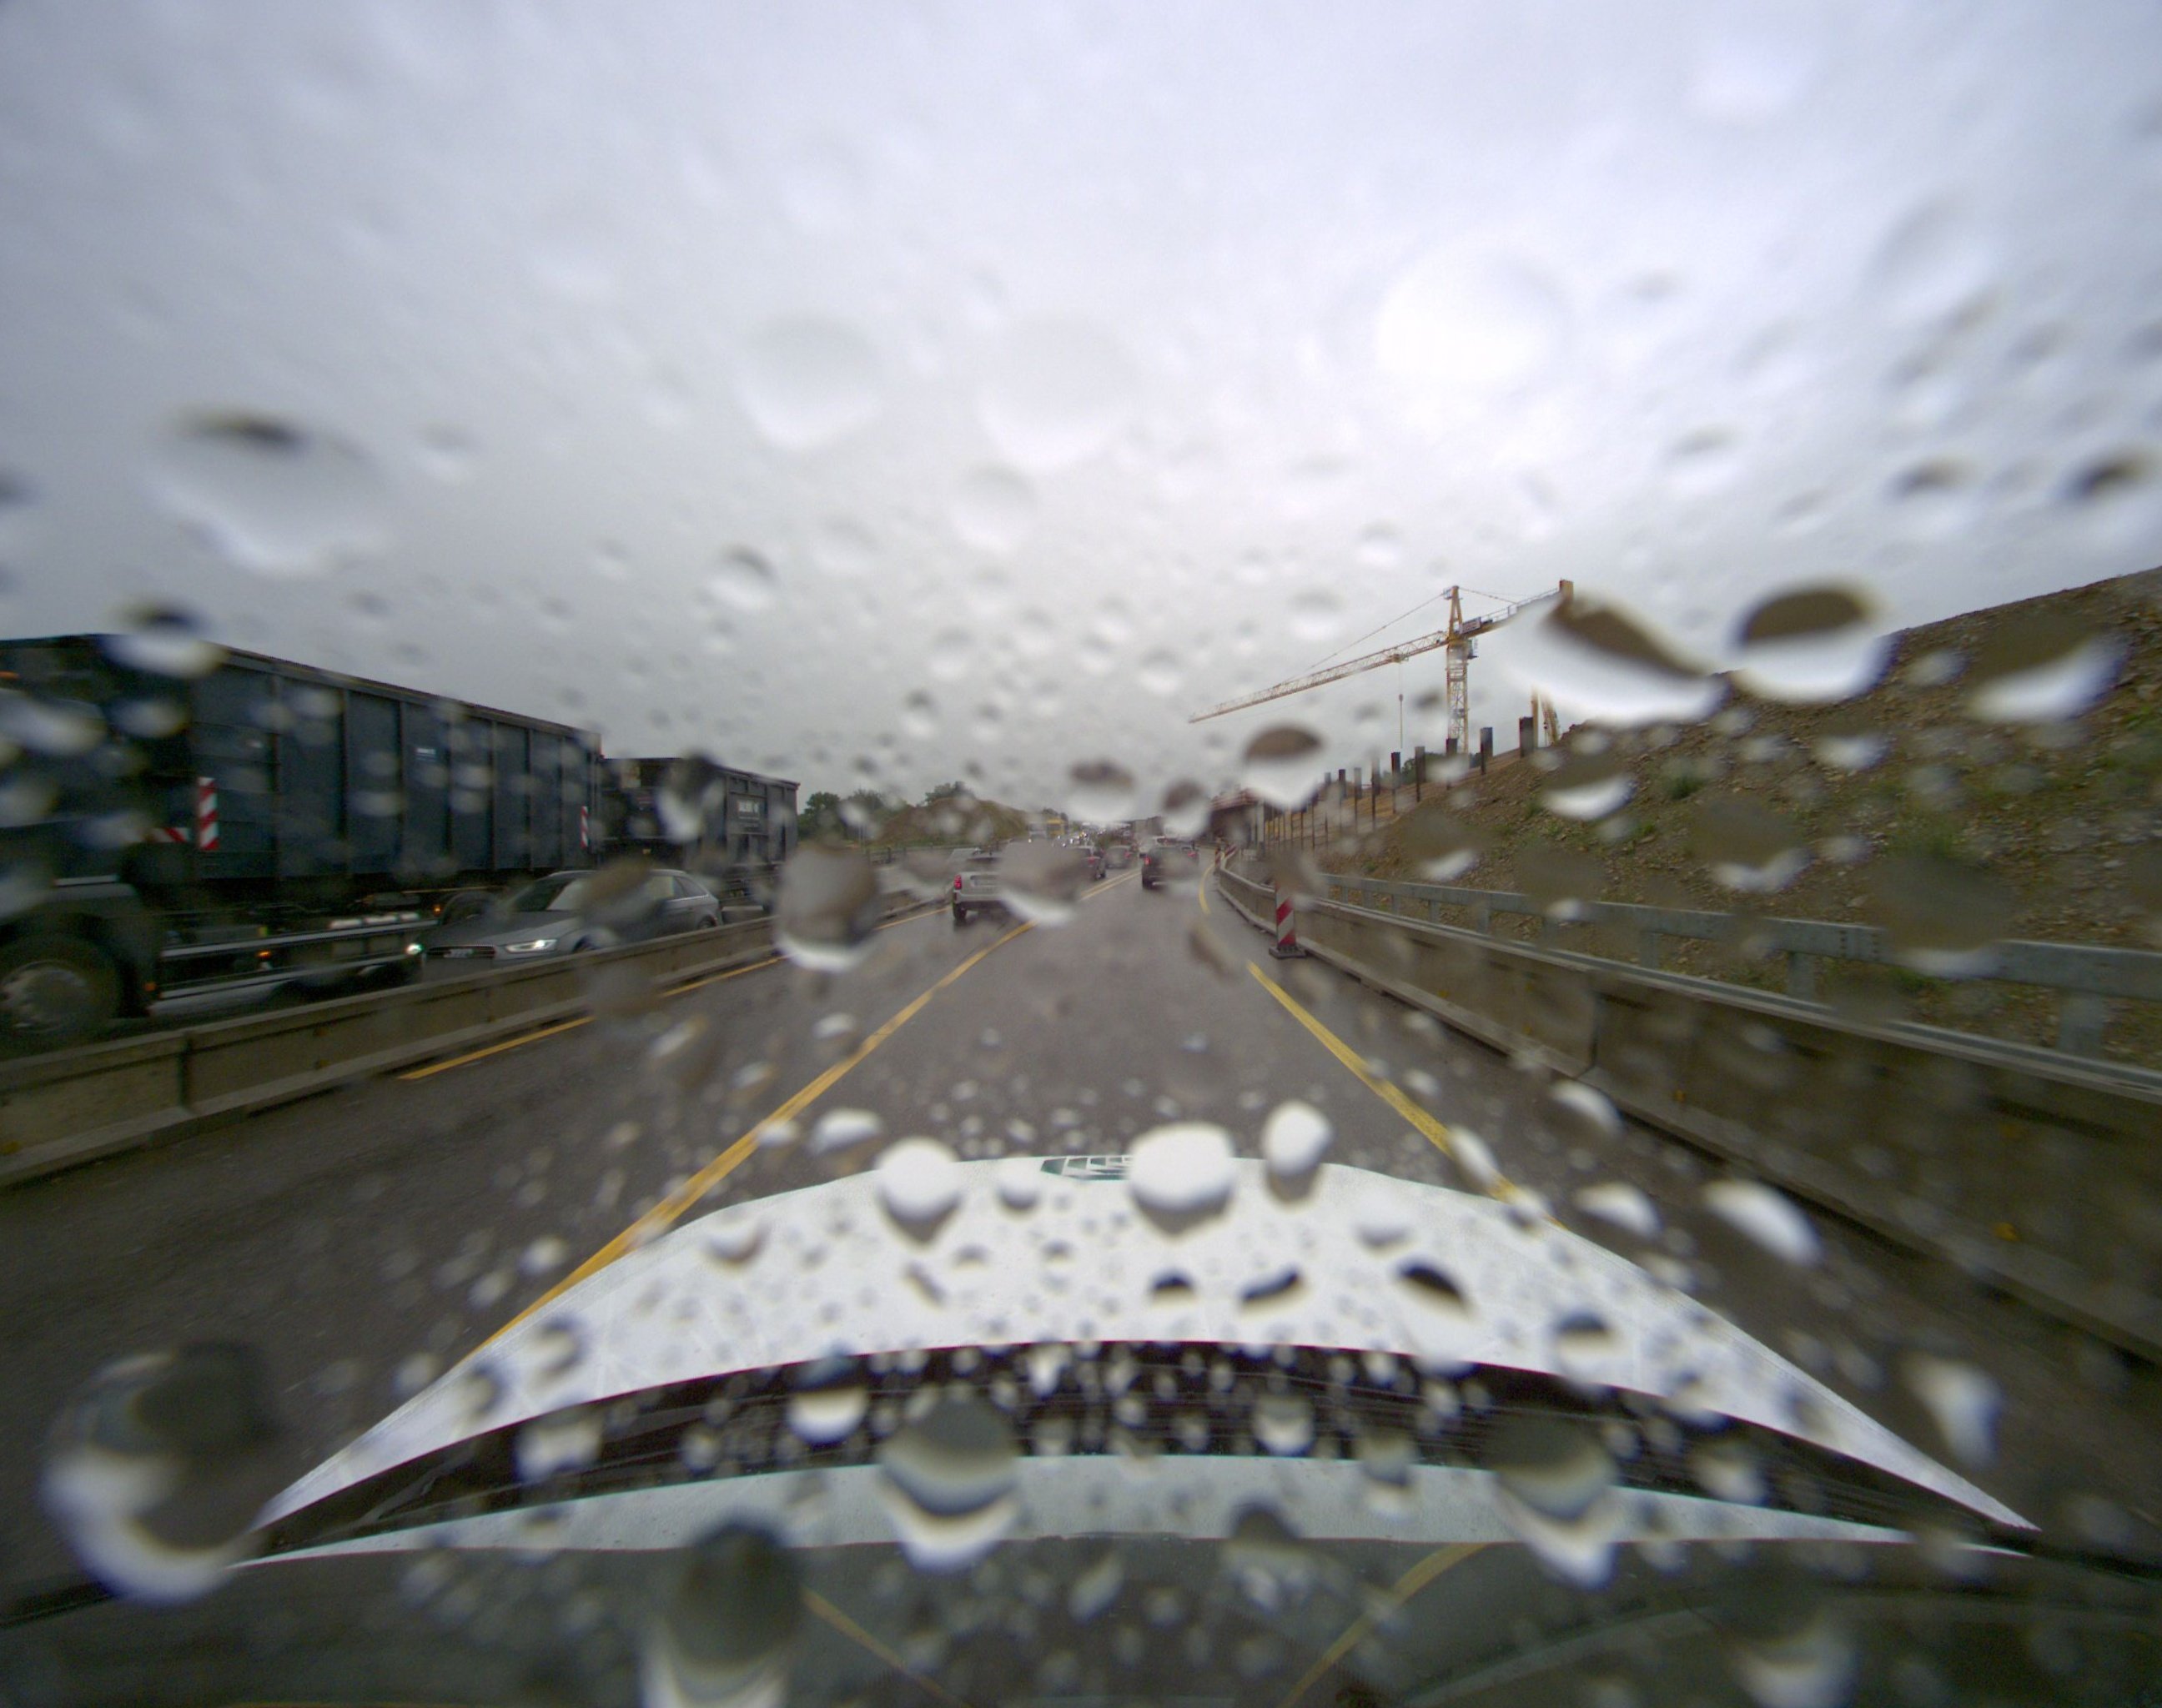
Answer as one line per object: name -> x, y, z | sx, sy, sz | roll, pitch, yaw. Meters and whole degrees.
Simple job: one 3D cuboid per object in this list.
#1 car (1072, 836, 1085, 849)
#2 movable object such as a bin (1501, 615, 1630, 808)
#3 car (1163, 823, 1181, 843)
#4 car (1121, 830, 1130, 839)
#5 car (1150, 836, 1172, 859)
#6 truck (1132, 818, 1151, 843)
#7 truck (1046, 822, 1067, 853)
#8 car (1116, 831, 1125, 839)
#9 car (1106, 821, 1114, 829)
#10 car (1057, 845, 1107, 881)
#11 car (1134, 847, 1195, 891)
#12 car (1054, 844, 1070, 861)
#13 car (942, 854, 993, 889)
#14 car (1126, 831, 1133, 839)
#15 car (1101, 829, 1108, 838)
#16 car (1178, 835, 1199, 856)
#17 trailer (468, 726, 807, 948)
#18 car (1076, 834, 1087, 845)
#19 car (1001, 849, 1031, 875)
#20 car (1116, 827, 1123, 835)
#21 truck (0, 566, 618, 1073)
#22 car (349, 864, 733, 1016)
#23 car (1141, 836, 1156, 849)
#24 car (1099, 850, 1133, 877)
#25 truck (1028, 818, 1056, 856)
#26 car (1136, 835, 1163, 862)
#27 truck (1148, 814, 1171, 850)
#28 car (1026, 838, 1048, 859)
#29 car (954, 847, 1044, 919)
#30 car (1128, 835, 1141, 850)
car -> -0.469, -2.249, 157.721 | 2.229, 2.359, 4.879 | -1, 0, 2
movable object such as a bin -> 32.646, -9.124, 55.684 | 4.683, 10.844, 10.344 | -2, -2, 16
car -> 12.826, -2.925, 114.931 | 1.986, 2.484, 4.983 | -1, -2, 2
car -> 10.196, -4.471, 187.287 | 1.842, 1.894, 4.023 | -1, -2, 2
car -> 8.166, -0.630, 82.562 | 1.982, 2.163, 4.149 | -1, -2, 8
truck -> 14.452, -5.544, 196.525 | 3.791, 5.043, 12.920 | -1, -2, 1
truck -> -4.465, -2.959, 147.841 | 3.129, 5.418, 8.527 | -1, 0, 2
car -> 10.051, -4.800, 206.612 | 1.986, 2.014, 4.001 | -2, -1, 1
car -> 8.440, -8.366, 237.794 | 1.986, 2.014, 4.000 | -1, -2, 1
car -> 0.093, 0.472, 39.315 | 1.984, 1.601, 4.146 | -1, -2, 6
car -> 3.197, 0.630, 31.906 | 2.073, 1.601, 4.142 | -1, -2, 2
car -> -2.289, -0.135, 97.367 | 1.616, 1.810, 3.638 | -1, -2, 2
car -> -5.802, 0.847, 42.341 | 1.731, 1.684, 5.554 | 0, 0, 2
car -> 14.229, -5.611, 239.193 | 1.987, 2.014, 3.999 | -1, -2, 1
car -> 6.447, -5.638, 223.614 | 1.986, 2.014, 4.000 | -1, -2, 1
car -> 11.957, -0.909, 90.662 | 1.985, 2.163, 4.143 | -1, -2, 3
trailer -> -9.674, -0.331, 19.596 | 2.737, 3.970, 9.674 | -1, 0, 0
car -> 0.080, -3.054, 173.385 | 2.208, 2.370, 4.666 | -1, 0, 2
car -> -4.939, 0.629, 62.006 | 1.779, 1.810, 4.500 | -1, -2, 2
car -> 11.028, -6.550, 233.697 | 1.986, 2.014, 4.001 | -2, -1, 1
truck -> -9.751, -0.266, 10.107 | 2.633, 3.970, 9.212 | -1, 0, 0
car -> -6.513, 0.905, 10.656 | 1.862, 1.471, 4.670 | -1, 0, 0
car -> 9.892, -1.690, 119.390 | 1.985, 1.761, 3.816 | -1, -2, 2
car -> 2.227, 0.670, 52.695 | 1.987, 1.601, 4.139 | -1, -2, 0
truck -> -5.264, -2.207, 111.467 | 3.071, 4.919, 8.568 | -1, 0, 2
car -> 5.794, -0.439, 69.614 | 1.987, 2.014, 3.893 | -1, -2, 1
truck -> 13.184, -3.594, 135.679 | 3.083, 5.427, 9.465 | -1, -2, 9
car -> -4.194, -0.510, 78.160 | 1.779, 1.810, 4.500 | -1, -2, 2
car -> -1.973, 0.727, 20.736 | 1.810, 1.600, 4.307 | -1, -2, 0
car -> 8.878, -1.919, 135.167 | 1.983, 2.163, 4.147 | -1, -2, 6
